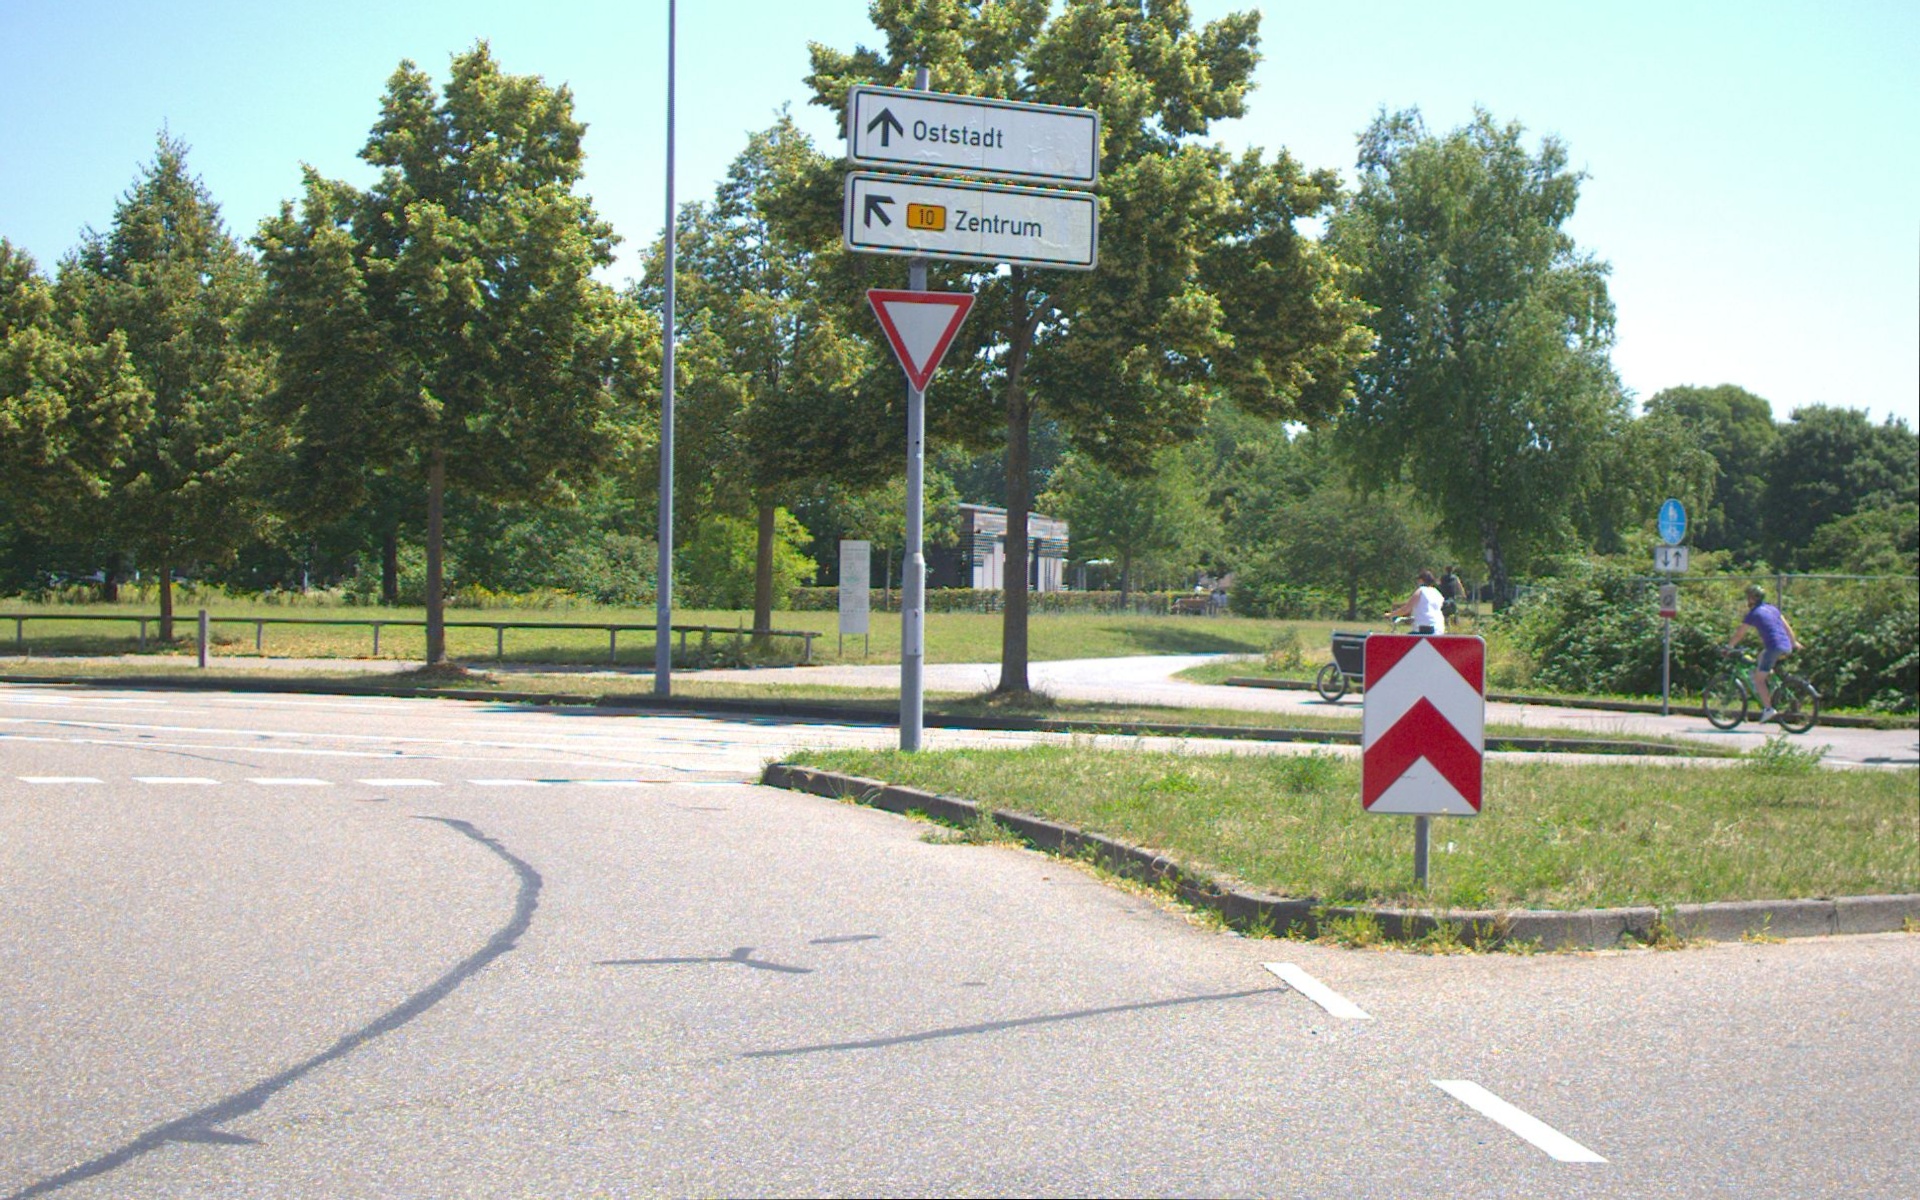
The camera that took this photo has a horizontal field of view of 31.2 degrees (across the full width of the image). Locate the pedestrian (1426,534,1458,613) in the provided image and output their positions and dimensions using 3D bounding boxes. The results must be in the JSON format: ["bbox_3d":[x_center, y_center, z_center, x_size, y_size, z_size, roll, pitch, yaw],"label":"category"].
[{"bbox_3d":[10.725,-0.590,76.455,0.573,1.725,0.674,1,-1,17],"label":"pedestrian"}]

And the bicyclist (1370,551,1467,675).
[{"bbox_3d":[6.078,0.175,45.578,0.754,1.608,0.977,3,-2,-44],"label":"bicyclist"}]

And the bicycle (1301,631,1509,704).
[{"bbox_3d":[5.896,0.892,45.728,0.739,0.909,2.928,3,-2,-43],"label":"bicycle"}]

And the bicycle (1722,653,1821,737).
[{"bbox_3d":[9.887,1.147,41.961,0.896,0.897,1.762,3,2,5],"label":"bicycle"}]

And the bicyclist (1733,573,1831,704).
[{"bbox_3d":[9.992,0.456,41.834,0.957,1.526,1.186,1,1,5],"label":"bicyclist"}]
